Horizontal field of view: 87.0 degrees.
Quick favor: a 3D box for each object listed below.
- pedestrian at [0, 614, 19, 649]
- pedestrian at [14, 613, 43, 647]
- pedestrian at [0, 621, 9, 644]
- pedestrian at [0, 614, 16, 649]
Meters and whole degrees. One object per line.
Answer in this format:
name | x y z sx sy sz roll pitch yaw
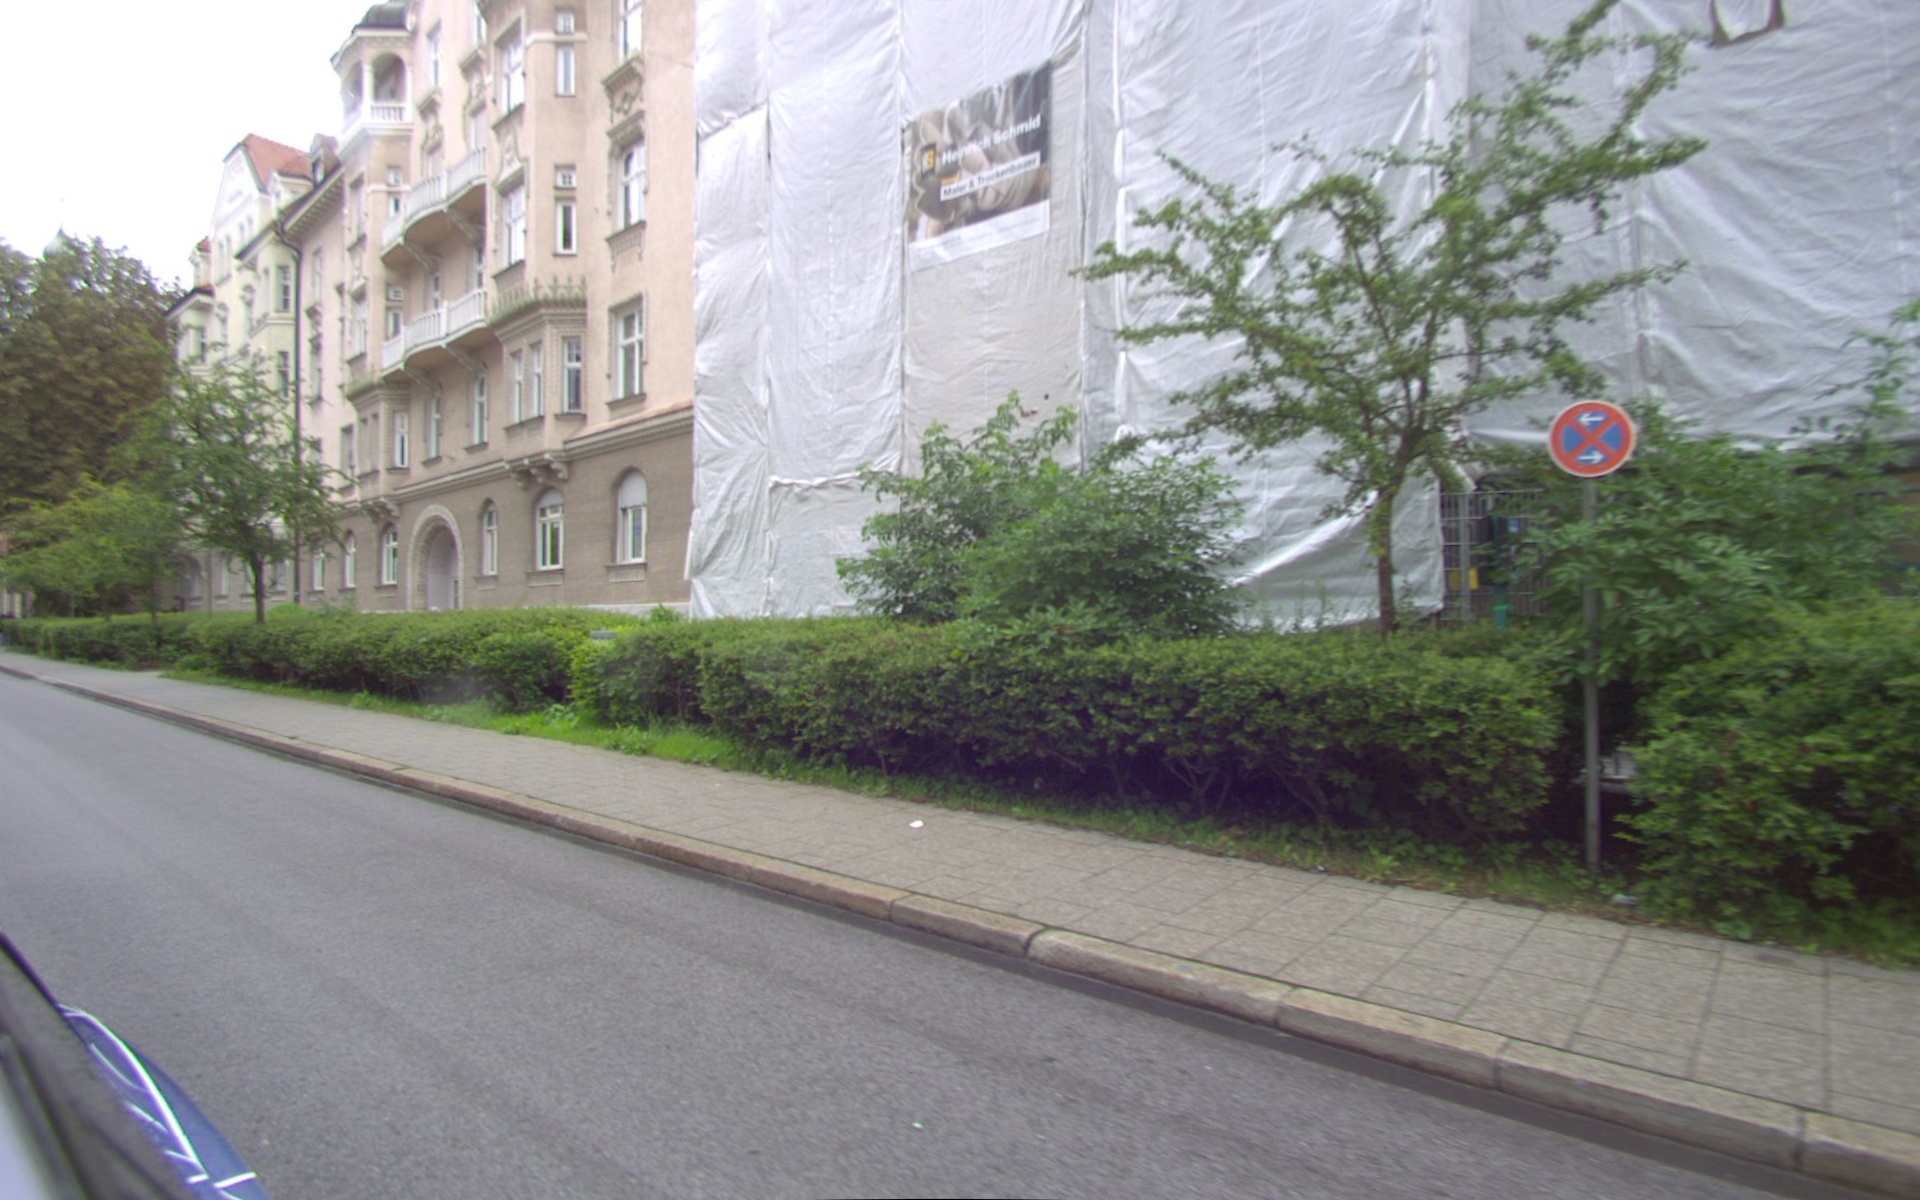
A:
pedestrian | -47.565 1.574 50.424 0.846 1.758 0.898 -1 -2 41
pedestrian | -48.287 1.552 52.473 0.773 1.758 0.878 0 -1 -17
pedestrian | -54.976 1.856 57.789 0.753 1.351 0.820 -1 -2 39
pedestrian | -48.821 1.584 51.646 0.910 1.758 0.864 -1 -2 41
